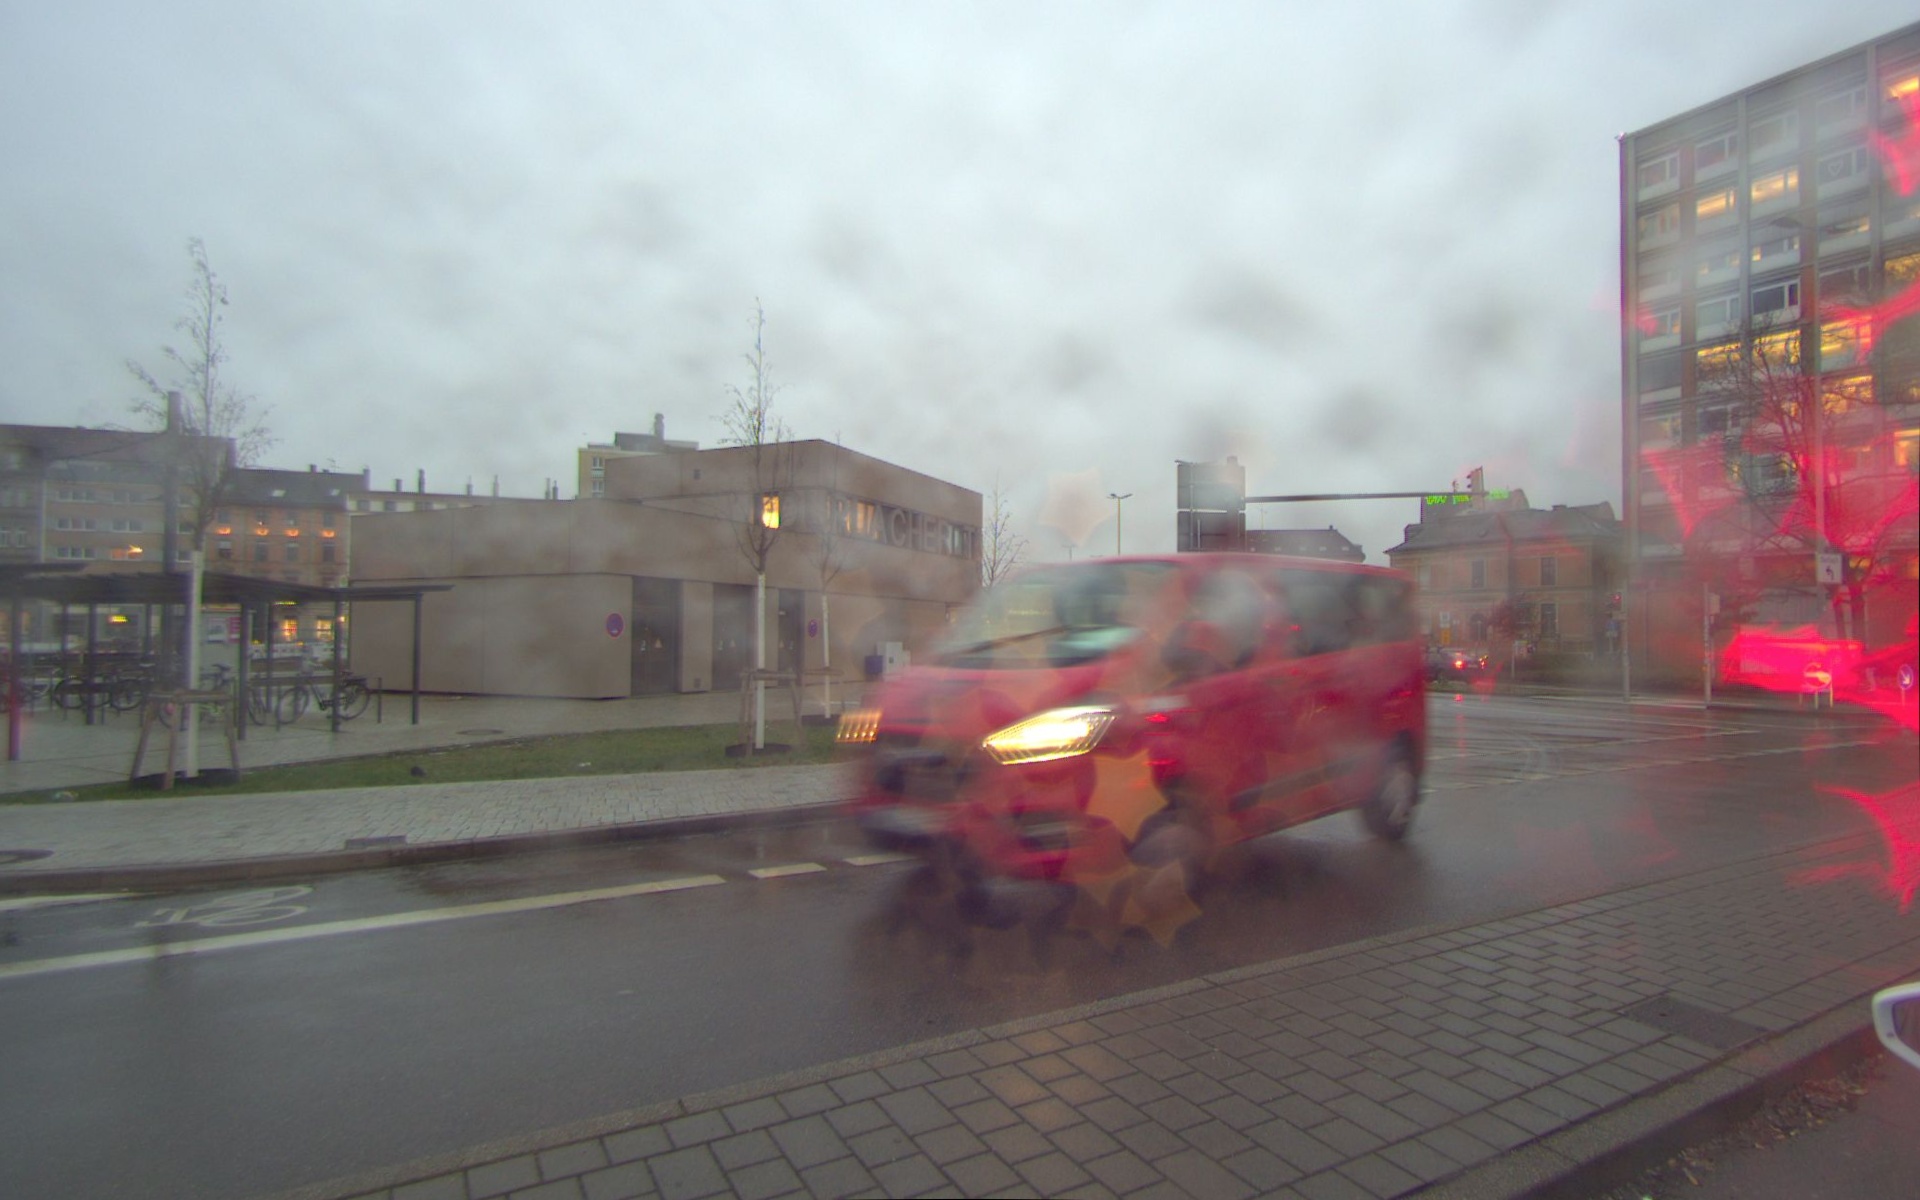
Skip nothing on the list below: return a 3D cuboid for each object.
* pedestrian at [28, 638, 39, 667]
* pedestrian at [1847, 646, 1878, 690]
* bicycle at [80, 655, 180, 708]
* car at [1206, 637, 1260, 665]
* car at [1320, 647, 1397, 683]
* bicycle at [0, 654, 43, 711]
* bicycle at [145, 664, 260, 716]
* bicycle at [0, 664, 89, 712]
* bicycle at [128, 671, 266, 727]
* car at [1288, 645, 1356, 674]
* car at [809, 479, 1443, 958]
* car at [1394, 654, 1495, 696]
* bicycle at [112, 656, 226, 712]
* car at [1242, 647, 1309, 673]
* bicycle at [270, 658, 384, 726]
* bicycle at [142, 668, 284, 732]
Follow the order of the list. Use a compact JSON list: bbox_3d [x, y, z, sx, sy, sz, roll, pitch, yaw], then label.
[{"bbox_3d":[-64.454,3.634,69.853,0.407,2.040,0.441,0,-2,-22],"label":"pedestrian"},{"bbox_3d":[35.573,2.669,39.590,0.626,1.710,0.640,0,-2,-13],"label":"pedestrian"},{"bbox_3d":[-17.685,1.715,21.433,0.511,1.050,1.574,1,-2,19],"label":"bicycle"},{"bbox_3d":[19.619,3.665,72.335,3.514,1.850,1.672,2,0,8],"label":"car"},{"bbox_3d":[20.498,3.319,51.817,1.795,1.589,3.991,2,0,-11],"label":"car"},{"bbox_3d":[-19.393,1.637,19.839,0.466,1.122,1.797,1,-2,29],"label":"bicycle"},{"bbox_3d":[-15.179,1.783,20.174,0.466,0.968,1.767,1,-2,29],"label":"bicycle"},{"bbox_3d":[-18.507,1.738,19.990,0.466,0.903,1.693,1,-2,24],"label":"bicycle"},{"bbox_3d":[-13.585,1.742,17.951,0.466,0.903,1.923,1,-2,29],"label":"bicycle"},{"bbox_3d":[20.903,3.418,58.077,3.364,1.481,1.515,2,0,-1],"label":"car"},{"bbox_3d":[1.408,0.618,6.747,1.904,2.097,4.615,-3,-4,44],"label":"car"},{"bbox_3d":[21.613,3.318,44.954,1.798,1.589,3.984,2,0,-18],"label":"car"},{"bbox_3d":[-16.529,1.741,21.039,0.466,1.087,1.830,1,-2,26],"label":"bicycle"},{"bbox_3d":[20.091,3.816,63.978,3.741,1.502,1.602,2,0,-1],"label":"car"},{"bbox_3d":[-11.749,1.680,18.719,0.605,1.172,1.755,1,-2,20],"label":"bicycle"},{"bbox_3d":[-12.934,1.708,17.459,0.466,0.989,1.923,1,-2,29],"label":"bicycle"}]
